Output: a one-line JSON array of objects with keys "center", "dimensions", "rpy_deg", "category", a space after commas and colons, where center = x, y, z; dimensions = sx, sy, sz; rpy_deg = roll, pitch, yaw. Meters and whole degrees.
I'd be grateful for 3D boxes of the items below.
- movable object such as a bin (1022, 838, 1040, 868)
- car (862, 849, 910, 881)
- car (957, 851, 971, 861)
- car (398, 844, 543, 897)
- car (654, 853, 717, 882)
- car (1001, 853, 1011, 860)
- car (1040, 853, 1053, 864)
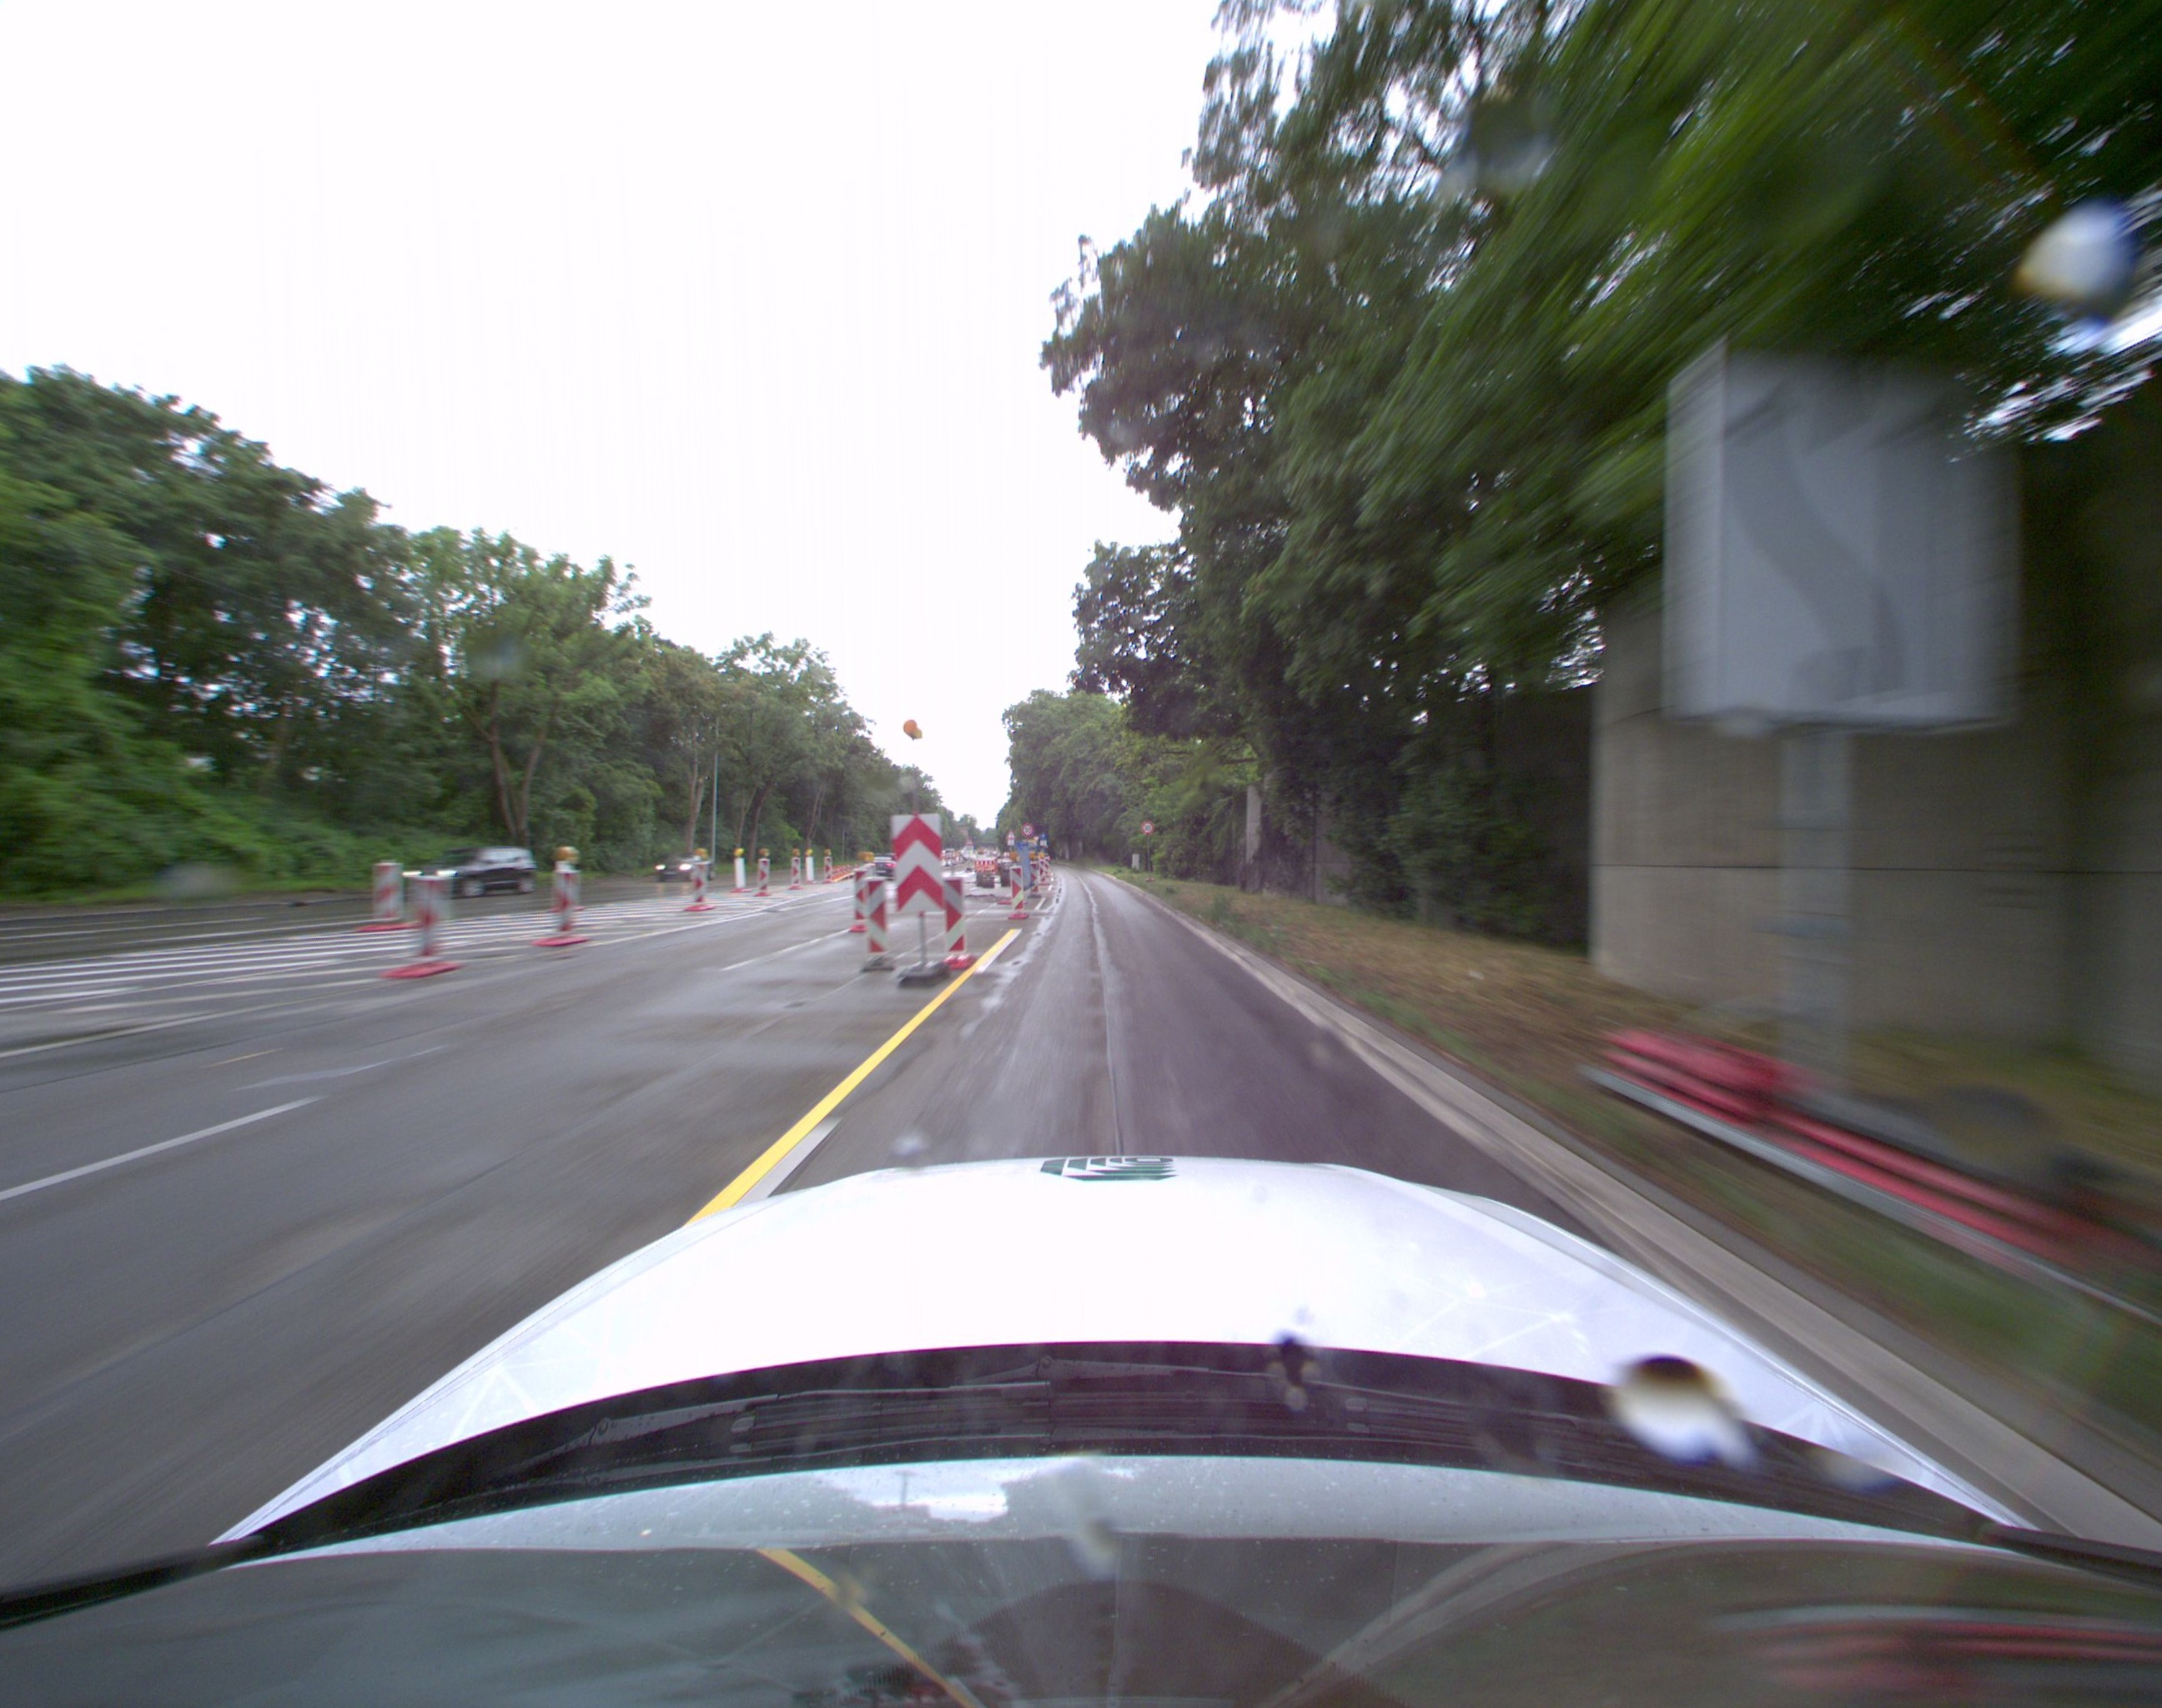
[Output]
[{"center": [-5.023, -0.086, 81.496], "dimensions": [1.742, 2.867, 3.530], "rpy_deg": [0, 0, -3], "category": "movable object such as a bin"}, {"center": [-10.690, 0.547, 44.918], "dimensions": [1.858, 1.491, 3.997], "rpy_deg": [2, 2, -3], "category": "car"}, {"center": [-21.349, 0.371, 148.542], "dimensions": [1.922, 1.778, 4.650], "rpy_deg": [1, 0, -1], "category": "car"}, {"center": [-20.304, 0.501, 27.326], "dimensions": [1.630, 1.647, 4.200], "rpy_deg": [0, 0, 1], "category": "car"}, {"center": [-20.637, 0.675, 42.666], "dimensions": [1.520, 1.457, 3.539], "rpy_deg": [-1, 0, 0], "category": "car"}, {"center": [-18.318, 0.592, 199.168], "dimensions": [1.870, 1.618, 3.998], "rpy_deg": [3, 1, -1], "category": "car"}, {"center": [-5.424, 0.737, 128.616], "dimensions": [1.909, 1.598, 4.831], "rpy_deg": [1, 1, -1], "category": "car"}]
